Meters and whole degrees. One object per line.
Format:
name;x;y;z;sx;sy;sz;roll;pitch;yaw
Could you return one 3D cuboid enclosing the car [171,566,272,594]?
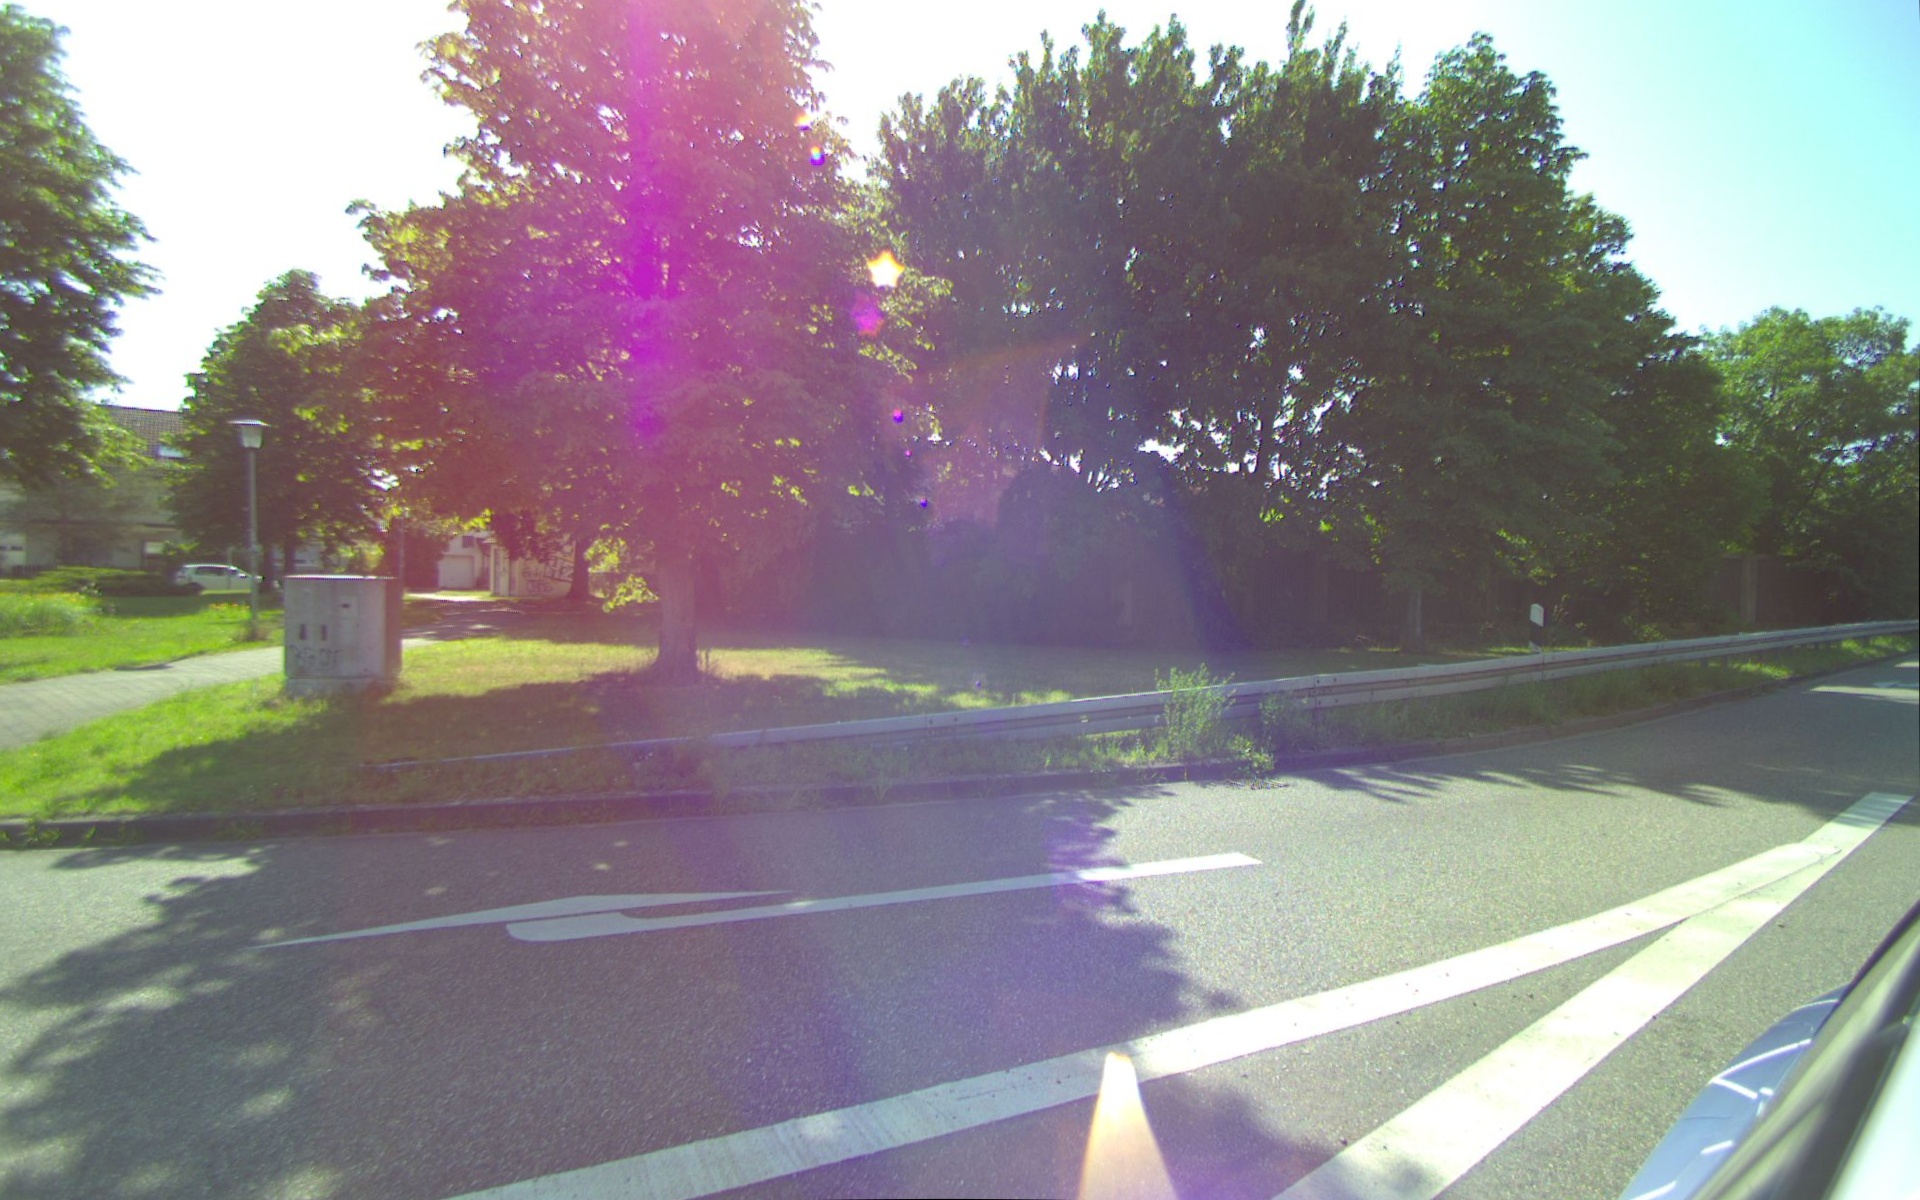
car;-35.767;-0.959;49.070;3.927;1.304;1.732;-1;2;-38
